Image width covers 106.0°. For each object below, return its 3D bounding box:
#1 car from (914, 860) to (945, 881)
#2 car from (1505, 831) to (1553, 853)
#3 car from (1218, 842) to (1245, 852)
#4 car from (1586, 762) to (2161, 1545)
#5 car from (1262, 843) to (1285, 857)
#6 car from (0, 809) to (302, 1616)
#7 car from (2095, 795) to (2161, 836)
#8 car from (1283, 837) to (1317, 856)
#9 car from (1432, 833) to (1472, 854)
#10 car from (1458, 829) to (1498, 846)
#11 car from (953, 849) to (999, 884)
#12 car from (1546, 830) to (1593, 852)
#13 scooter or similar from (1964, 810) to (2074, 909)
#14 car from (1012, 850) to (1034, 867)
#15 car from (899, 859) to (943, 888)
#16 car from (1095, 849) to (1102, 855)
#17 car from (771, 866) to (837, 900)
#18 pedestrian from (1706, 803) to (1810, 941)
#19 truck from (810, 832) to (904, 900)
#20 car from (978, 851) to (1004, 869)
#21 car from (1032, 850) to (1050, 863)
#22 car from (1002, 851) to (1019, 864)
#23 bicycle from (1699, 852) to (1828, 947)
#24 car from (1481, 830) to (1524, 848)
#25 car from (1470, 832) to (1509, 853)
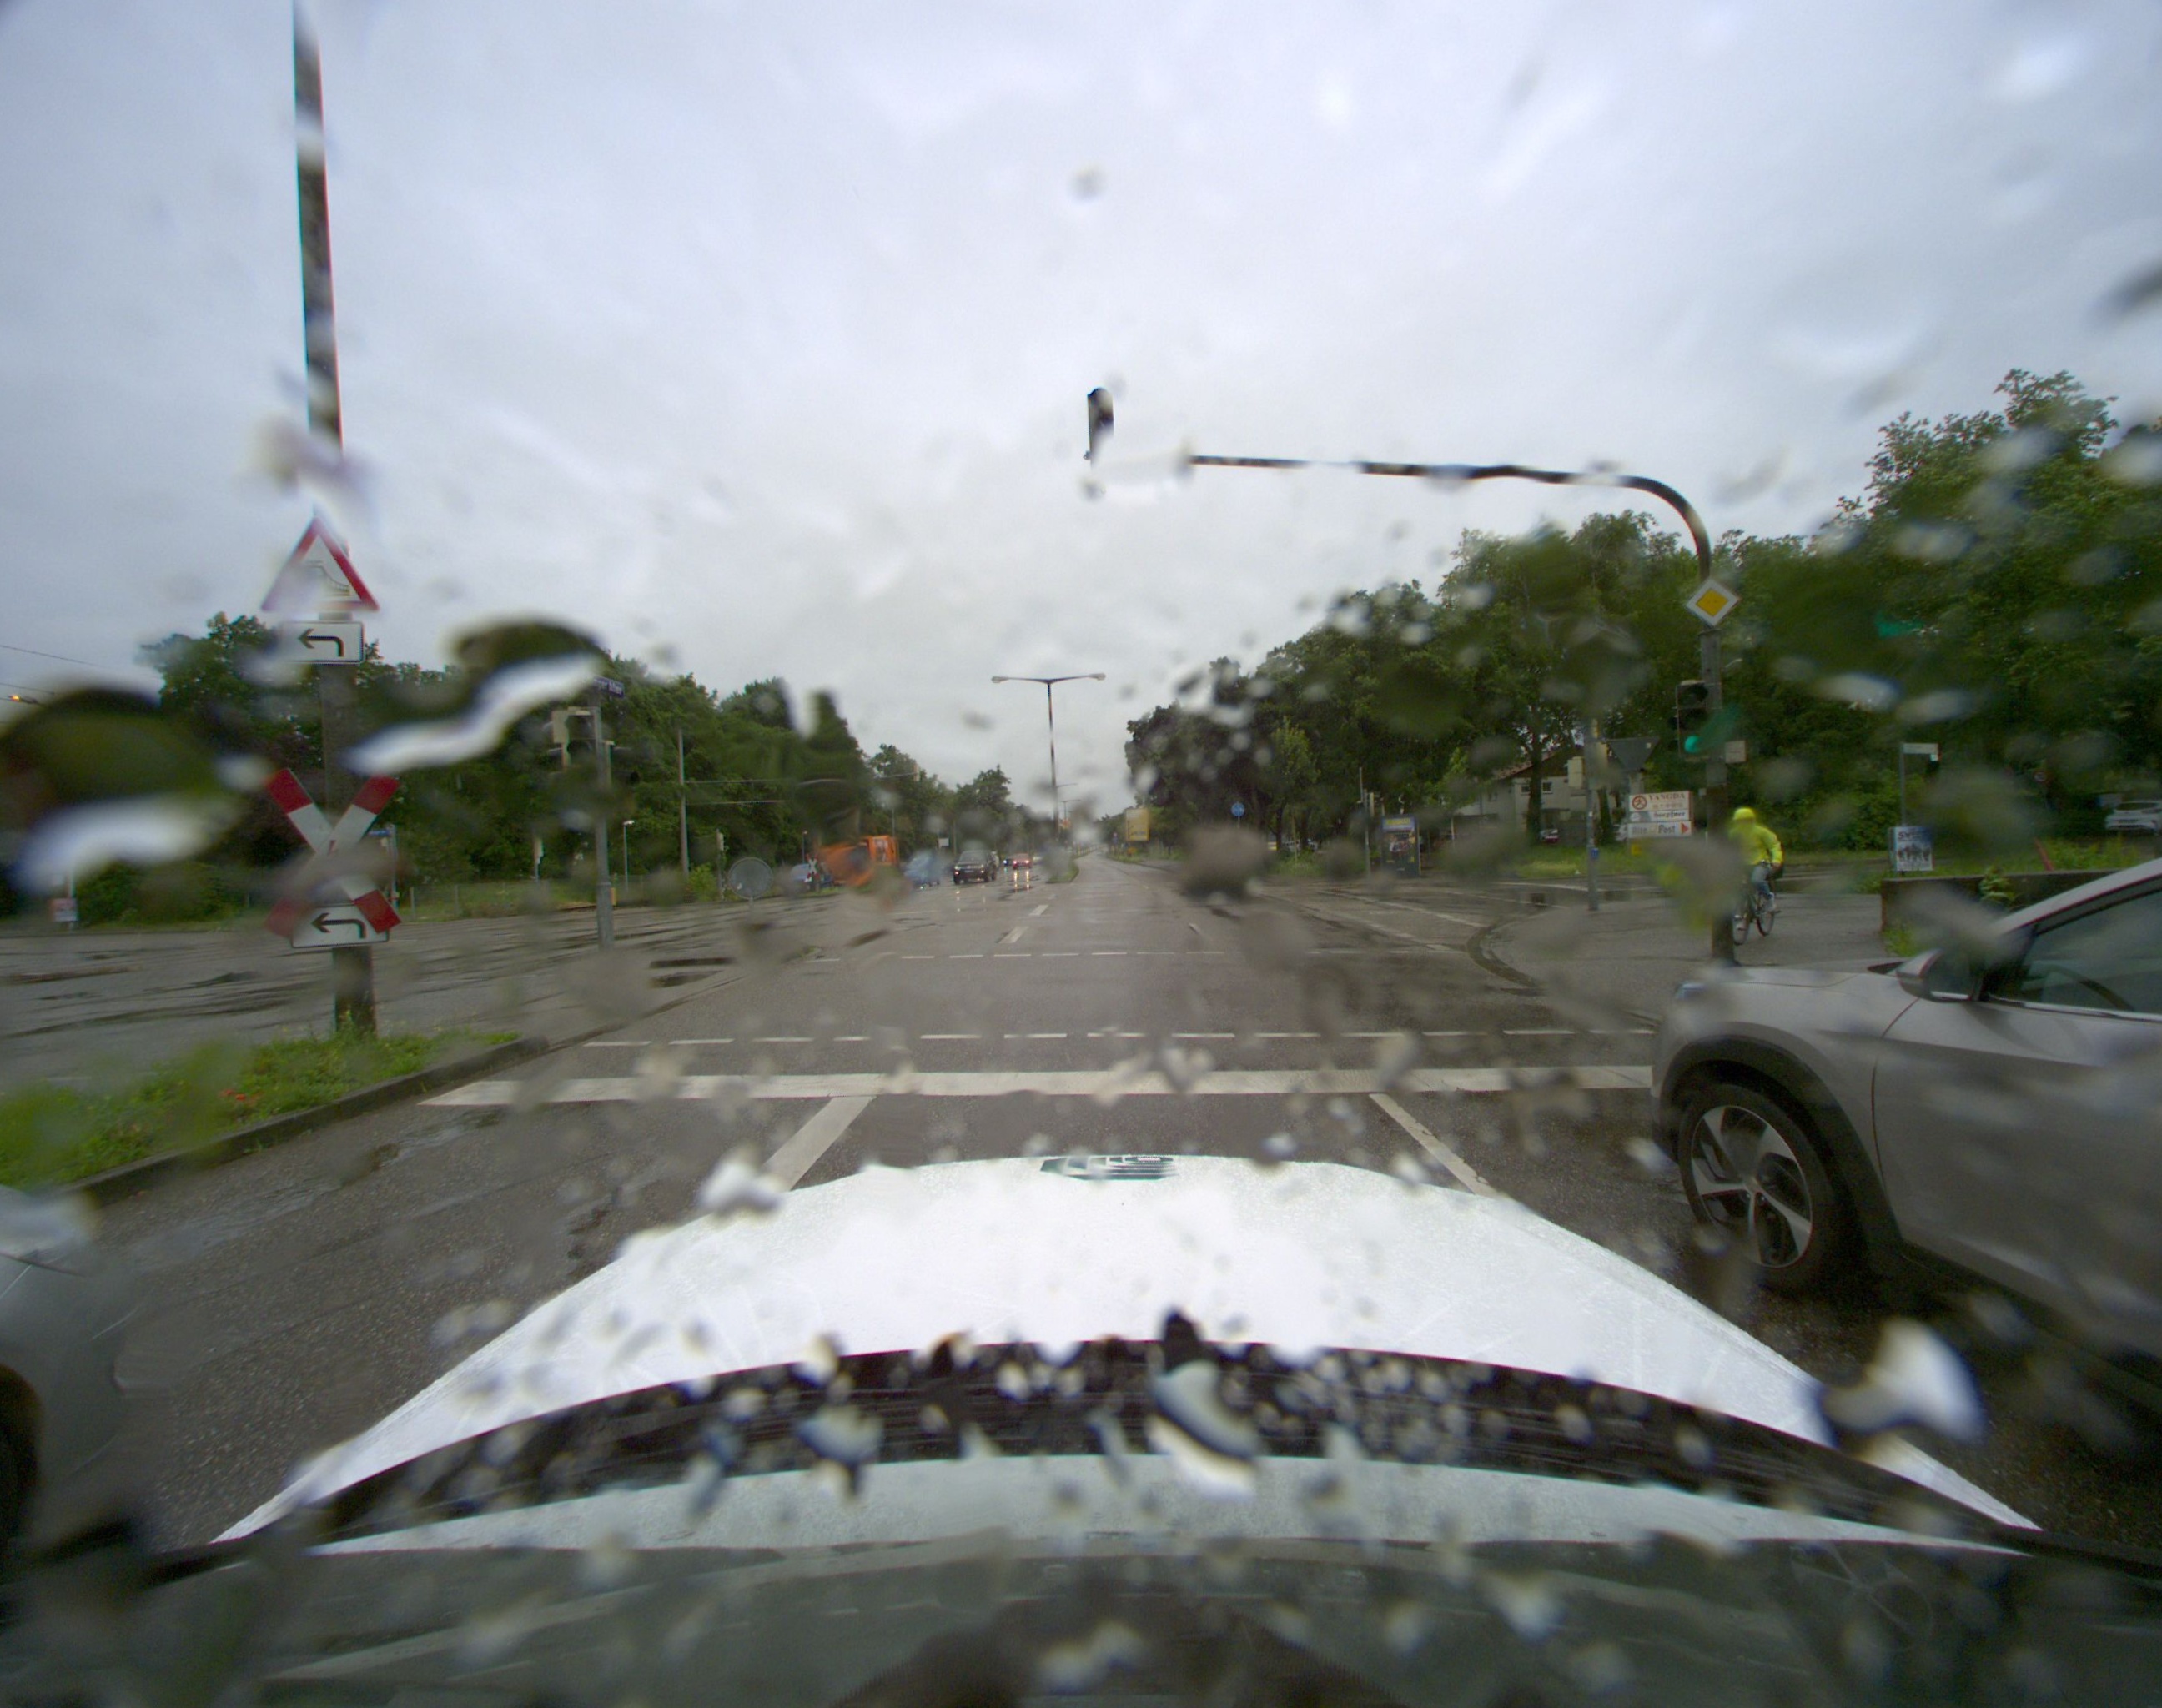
[{"bbox_3d":[-13.926,1.493,75.264,1.987,1.827,4.770,-1,0,-1],"label":"car"},{"bbox_3d":[30.685,-0.813,55.744,3.772,1.449,1.650,0,-1,-42],"label":"car"},{"bbox_3d":[27.855,-1.301,150.818,4.562,1.645,1.997,-2,0,-5],"label":"car"},{"bbox_3d":[3.140,0.591,1.478,1.877,1.610,4.196,-2,-1,1],"label":"car"},{"bbox_3d":[22.186,-0.465,94.000,1.632,1.486,4.071,-1,0,-1],"label":"car"},{"bbox_3d":[-2.990,0.717,0.145,1.730,1.544,4.014,-2,0,1],"label":"car"},{"bbox_3d":[45.227,-1.593,33.734,4.582,1.583,1.921,-1,0,-8],"label":"car"},{"bbox_3d":[21.628,-0.723,80.573,1.988,1.717,4.876,-3,0,-1],"label":"car"},{"bbox_3d":[26.978,-0.752,59.175,1.648,1.449,3.776,-1,-1,40],"label":"car"},{"bbox_3d":[34.205,-1.392,70.275,1.568,1.316,3.699,-1,0,-2],"label":"car"},{"bbox_3d":[-6.002,0.664,46.974,1.799,1.773,5.090,-4,0,1],"label":"car"},{"bbox_3d":[32.395,-0.841,53.963,3.772,1.449,1.584,0,-1,-42],"label":"car"},{"bbox_3d":[12.291,0.072,10.681,0.952,1.229,0.322,-3,0,6],"label":"scooter or similar"},{"bbox_3d":[-5.785,0.475,81.755,1.795,1.569,4.428,-4,-1,0],"label":"car"},{"bbox_3d":[-8.992,1.058,46.057,1.636,1.427,3.998,-4,0,-1],"label":"car"},{"bbox_3d":[5.135,-0.660,237.399,1.900,1.515,4.002,-2,0,2],"label":"car"},{"bbox_3d":[-15.394,1.564,45.491,1.986,1.709,4.529,-1,0,2],"label":"car"},{"bbox_3d":[8.771,0.225,10.564,0.671,1.678,0.781,-5,1,-32],"label":"pedestrian"},{"bbox_3d":[-15.016,0.756,55.677,3.373,4.167,10.408,-1,0,1],"label":"truck"},{"bbox_3d":[-8.826,0.555,80.185,1.887,1.611,4.502,-2,0,2],"label":"car"},{"bbox_3d":[-5.400,0.286,110.067,1.954,1.617,4.698,-3,0,1],"label":"car"},{"bbox_3d":[-9.394,0.419,109.247,1.700,1.641,4.332,-4,0,2],"label":"car"},{"bbox_3d":[8.942,0.561,10.662,1.671,1.038,0.781,-5,1,-32],"label":"bicycle"},{"bbox_3d":[36.454,-1.288,70.494,1.579,1.385,3.998,-1,0,-1],"label":"car"},{"bbox_3d":[28.982,-0.782,57.775,1.648,1.449,3.776,-1,-1,40],"label":"car"}]
